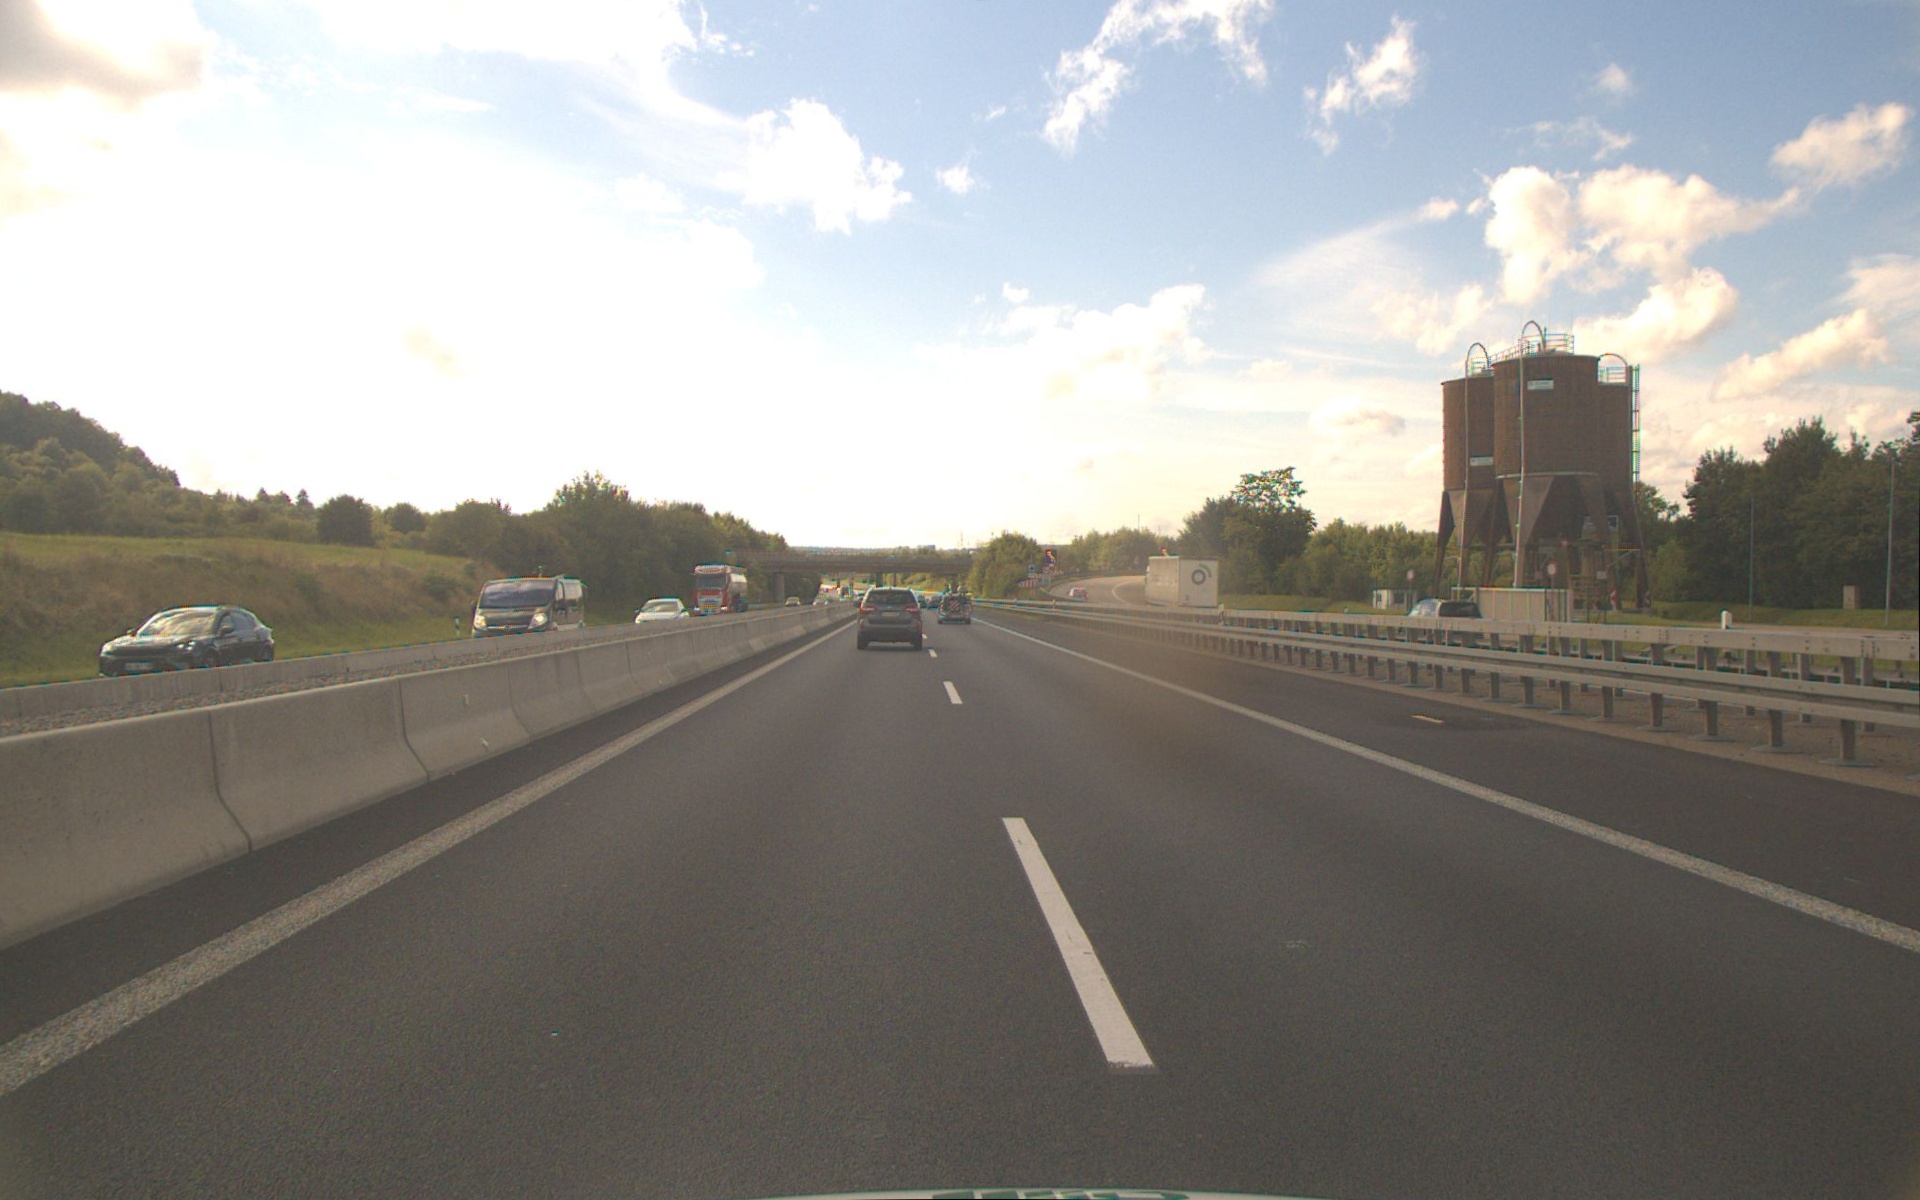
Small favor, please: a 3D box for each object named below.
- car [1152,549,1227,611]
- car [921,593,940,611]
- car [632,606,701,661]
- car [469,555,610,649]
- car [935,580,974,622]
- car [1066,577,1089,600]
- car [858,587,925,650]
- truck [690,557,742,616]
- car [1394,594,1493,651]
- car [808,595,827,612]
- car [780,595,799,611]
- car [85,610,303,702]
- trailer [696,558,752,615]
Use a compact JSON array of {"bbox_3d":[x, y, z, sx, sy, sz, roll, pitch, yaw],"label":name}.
[{"bbox_3d":[14.835,-1.257,107.572,3.504,3.741,7.546,-2,0,-2],"label":"car"},{"bbox_3d":[-3.235,0.219,179.810,1.935,1.810,4.118,-2,0,-2],"label":"car"},{"bbox_3d":[-11.601,1.283,65.571,1.953,2.049,4.676,0,0,-1],"label":"car"},{"bbox_3d":[-10.036,0.039,39.966,1.953,2.049,5.840,-2,0,-1],"label":"car"},{"bbox_3d":[-0.329,0.049,89.642,1.953,2.117,3.999,-2,0,-2],"label":"car"},{"bbox_3d":[10.704,-1.025,150.927,1.952,2.049,4.001,-2,0,2],"label":"car"},{"bbox_3d":[-1.897,0.492,46.836,1.714,1.659,3.608,-2,0,0],"label":"car"},{"bbox_3d":[-17.427,-0.951,118.520,2.682,3.993,6.900,-2,0,-1],"label":"truck"},{"bbox_3d":[15.829,0.707,54.369,1.953,1.747,3.999,-2,0,-2],"label":"car"},{"bbox_3d":[-15.873,0.371,184.798,1.771,1.864,4.395,-2,0,-1],"label":"car"},{"bbox_3d":[-20.224,0.367,196.333,1.953,1.747,3.999,-2,0,-2],"label":"car"},{"bbox_3d":[-14.331,0.994,31.286,1.953,1.504,4.691,-2,0,-1],"label":"car"},{"bbox_3d":[-17.484,-0.958,123.302,2.658,3.954,11.158,-2,0,-1],"label":"trailer"}]
